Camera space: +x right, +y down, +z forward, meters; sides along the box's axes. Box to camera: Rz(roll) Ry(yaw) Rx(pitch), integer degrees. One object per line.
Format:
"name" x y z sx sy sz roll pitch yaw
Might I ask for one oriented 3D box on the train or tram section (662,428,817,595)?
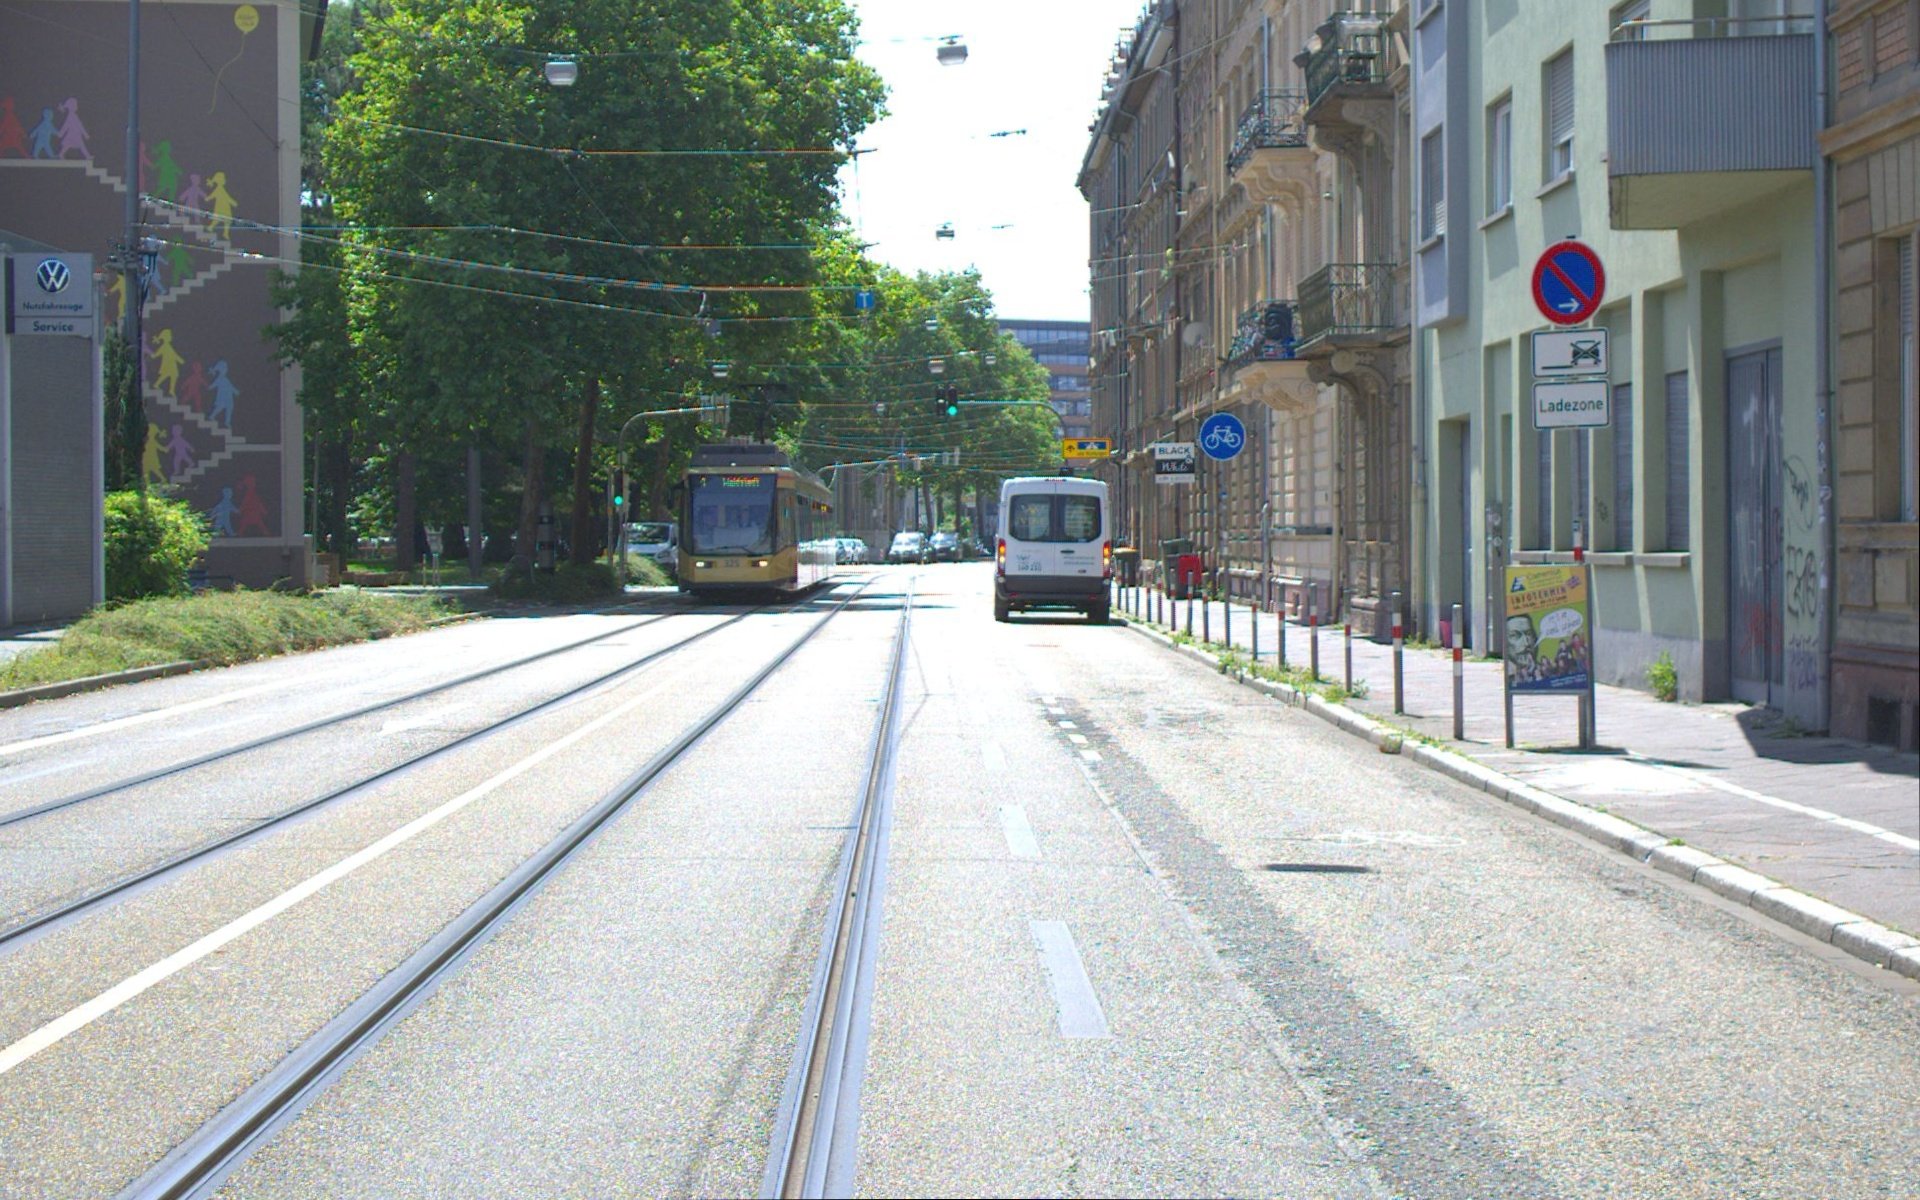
"train or tram section" -4.985 -2.036 80.255 2.960 3.568 13.424 0 1 -1

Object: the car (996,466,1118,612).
"car" 1.693 -1.107 61.906 2.067 2.492 5.454 1 1 1

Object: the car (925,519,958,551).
"car" -1.090 -3.742 197.787 1.673 1.853 4.001 0 1 -3

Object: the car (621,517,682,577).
"car" -10.016 -1.728 111.984 1.800 1.916 4.001 0 1 -3

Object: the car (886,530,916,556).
"car" -3.278 -3.177 190.612 1.528 1.404 3.490 0 1 -3
